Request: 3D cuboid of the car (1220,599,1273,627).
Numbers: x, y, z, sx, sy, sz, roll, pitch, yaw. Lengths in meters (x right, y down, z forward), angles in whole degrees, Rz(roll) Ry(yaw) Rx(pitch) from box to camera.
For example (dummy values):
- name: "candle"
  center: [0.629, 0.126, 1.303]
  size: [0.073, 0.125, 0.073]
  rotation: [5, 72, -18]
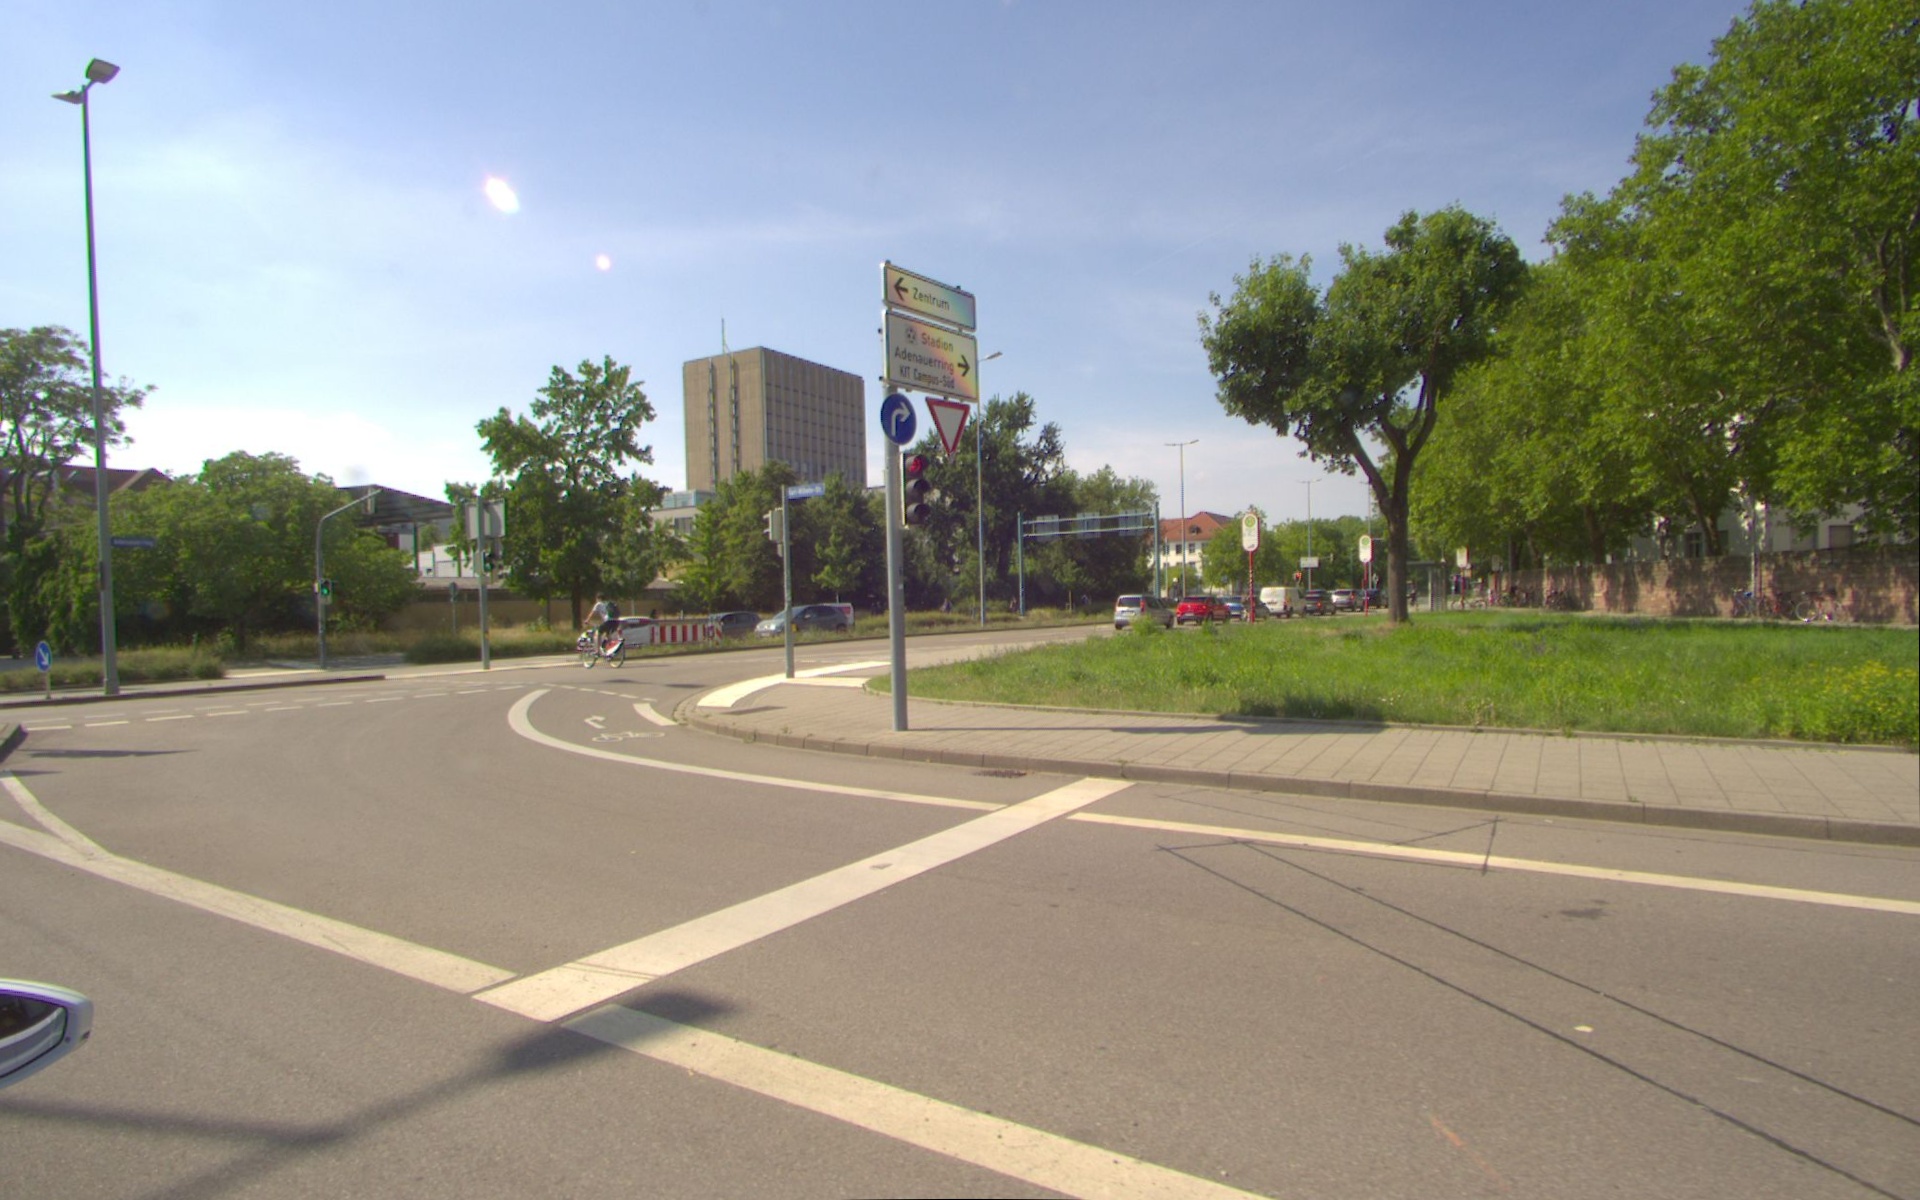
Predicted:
- name: "car"
  center: [16.703, 0.750, 58.328]
  size: [1.729, 1.494, 3.973]
  rotation: [-1, 1, 36]

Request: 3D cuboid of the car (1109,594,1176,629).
- name: "car"
  center: [8.588, 0.521, 46.781]
  size: [1.727, 1.528, 3.978]
  rotation: [-1, 1, 32]

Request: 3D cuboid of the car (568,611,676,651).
- name: "car"
  center: [-14.300, 1.298, 42.514]
  size: [1.972, 1.483, 3.978]
  rotation: [-2, 0, 32]

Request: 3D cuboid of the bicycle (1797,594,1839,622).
- name: "bicycle"
  center: [27.798, 0.241, 32.470]
  size: [0.365, 0.867, 1.307]
  rotation: [-1, 1, 7]

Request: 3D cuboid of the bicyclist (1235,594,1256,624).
- name: "bicyclist"
  center: [14.429, 0.443, 50.591]
  size: [0.558, 1.494, 1.158]
  rotation: [0, 2, 44]

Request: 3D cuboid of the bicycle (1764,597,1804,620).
- name: "bicycle"
  center: [27.937, 0.275, 33.965]
  size: [0.334, 0.738, 1.364]
  rotation: [-1, 1, 5]

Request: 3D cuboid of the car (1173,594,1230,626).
- name: "car"
  center: [12.615, 0.489, 52.204]
  size: [1.727, 1.528, 3.978]
  rotation: [-1, 1, 32]

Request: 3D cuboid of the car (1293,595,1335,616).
- name: "car"
  center: [24.602, 0.393, 69.562]
  size: [1.729, 1.357, 3.973]
  rotation: [-1, 1, 36]

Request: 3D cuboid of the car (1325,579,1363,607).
- name: "car"
  center: [29.569, -0.538, 77.128]
  size: [1.972, 2.040, 3.977]
  rotation: [-1, 1, 32]

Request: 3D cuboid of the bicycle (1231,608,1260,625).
- name: "bicycle"
  center: [14.426, 0.839, 50.576]
  size: [0.554, 0.803, 1.878]
  rotation: [1, 2, 44]

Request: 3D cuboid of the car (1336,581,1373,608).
- name: "car"
  center: [32.028, -0.449, 81.216]
  size: [1.973, 2.040, 3.976]
  rotation: [-1, 1, 34]

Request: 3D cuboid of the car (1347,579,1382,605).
- name: "car"
  center: [34.071, -0.676, 84.276]
  size: [1.973, 2.040, 3.976]
  rotation: [-1, 1, 34]

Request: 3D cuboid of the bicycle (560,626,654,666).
- name: "bicycle"
  center: [-8.691, 1.135, 24.657]
  size: [2.128, 0.928, 0.674]
  rotation: [-1, 1, 13]

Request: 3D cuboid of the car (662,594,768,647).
- name: "car"
  center: [-10.377, 0.854, 42.601]
  size: [1.976, 2.040, 3.971]
  rotation: [-3, -1, 37]

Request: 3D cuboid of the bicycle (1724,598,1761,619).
- name: "bicycle"
  center: [27.930, 0.302, 35.757]
  size: [0.334, 0.738, 1.364]
  rotation: [-1, 1, 5]

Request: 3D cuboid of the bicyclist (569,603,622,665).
- name: "bicyclist"
  center: [-8.964, 0.836, 24.656]
  size: [1.121, 1.489, 0.496]
  rotation: [-1, -1, 13]

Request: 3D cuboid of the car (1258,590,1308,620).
- name: "car"
  center: [20.569, 0.304, 63.699]
  size: [1.729, 1.781, 4.402]
  rotation: [-1, 1, 36]

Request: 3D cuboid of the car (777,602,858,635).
- name: "car"
  center: [-7.396, 0.961, 52.435]
  size: [1.883, 1.590, 4.300]
  rotation: [-1, 1, 32]

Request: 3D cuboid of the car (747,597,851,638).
- name: "car"
  center: [-6.380, 0.666, 39.964]
  size: [1.619, 1.424, 4.080]
  rotation: [-3, -1, 37]
